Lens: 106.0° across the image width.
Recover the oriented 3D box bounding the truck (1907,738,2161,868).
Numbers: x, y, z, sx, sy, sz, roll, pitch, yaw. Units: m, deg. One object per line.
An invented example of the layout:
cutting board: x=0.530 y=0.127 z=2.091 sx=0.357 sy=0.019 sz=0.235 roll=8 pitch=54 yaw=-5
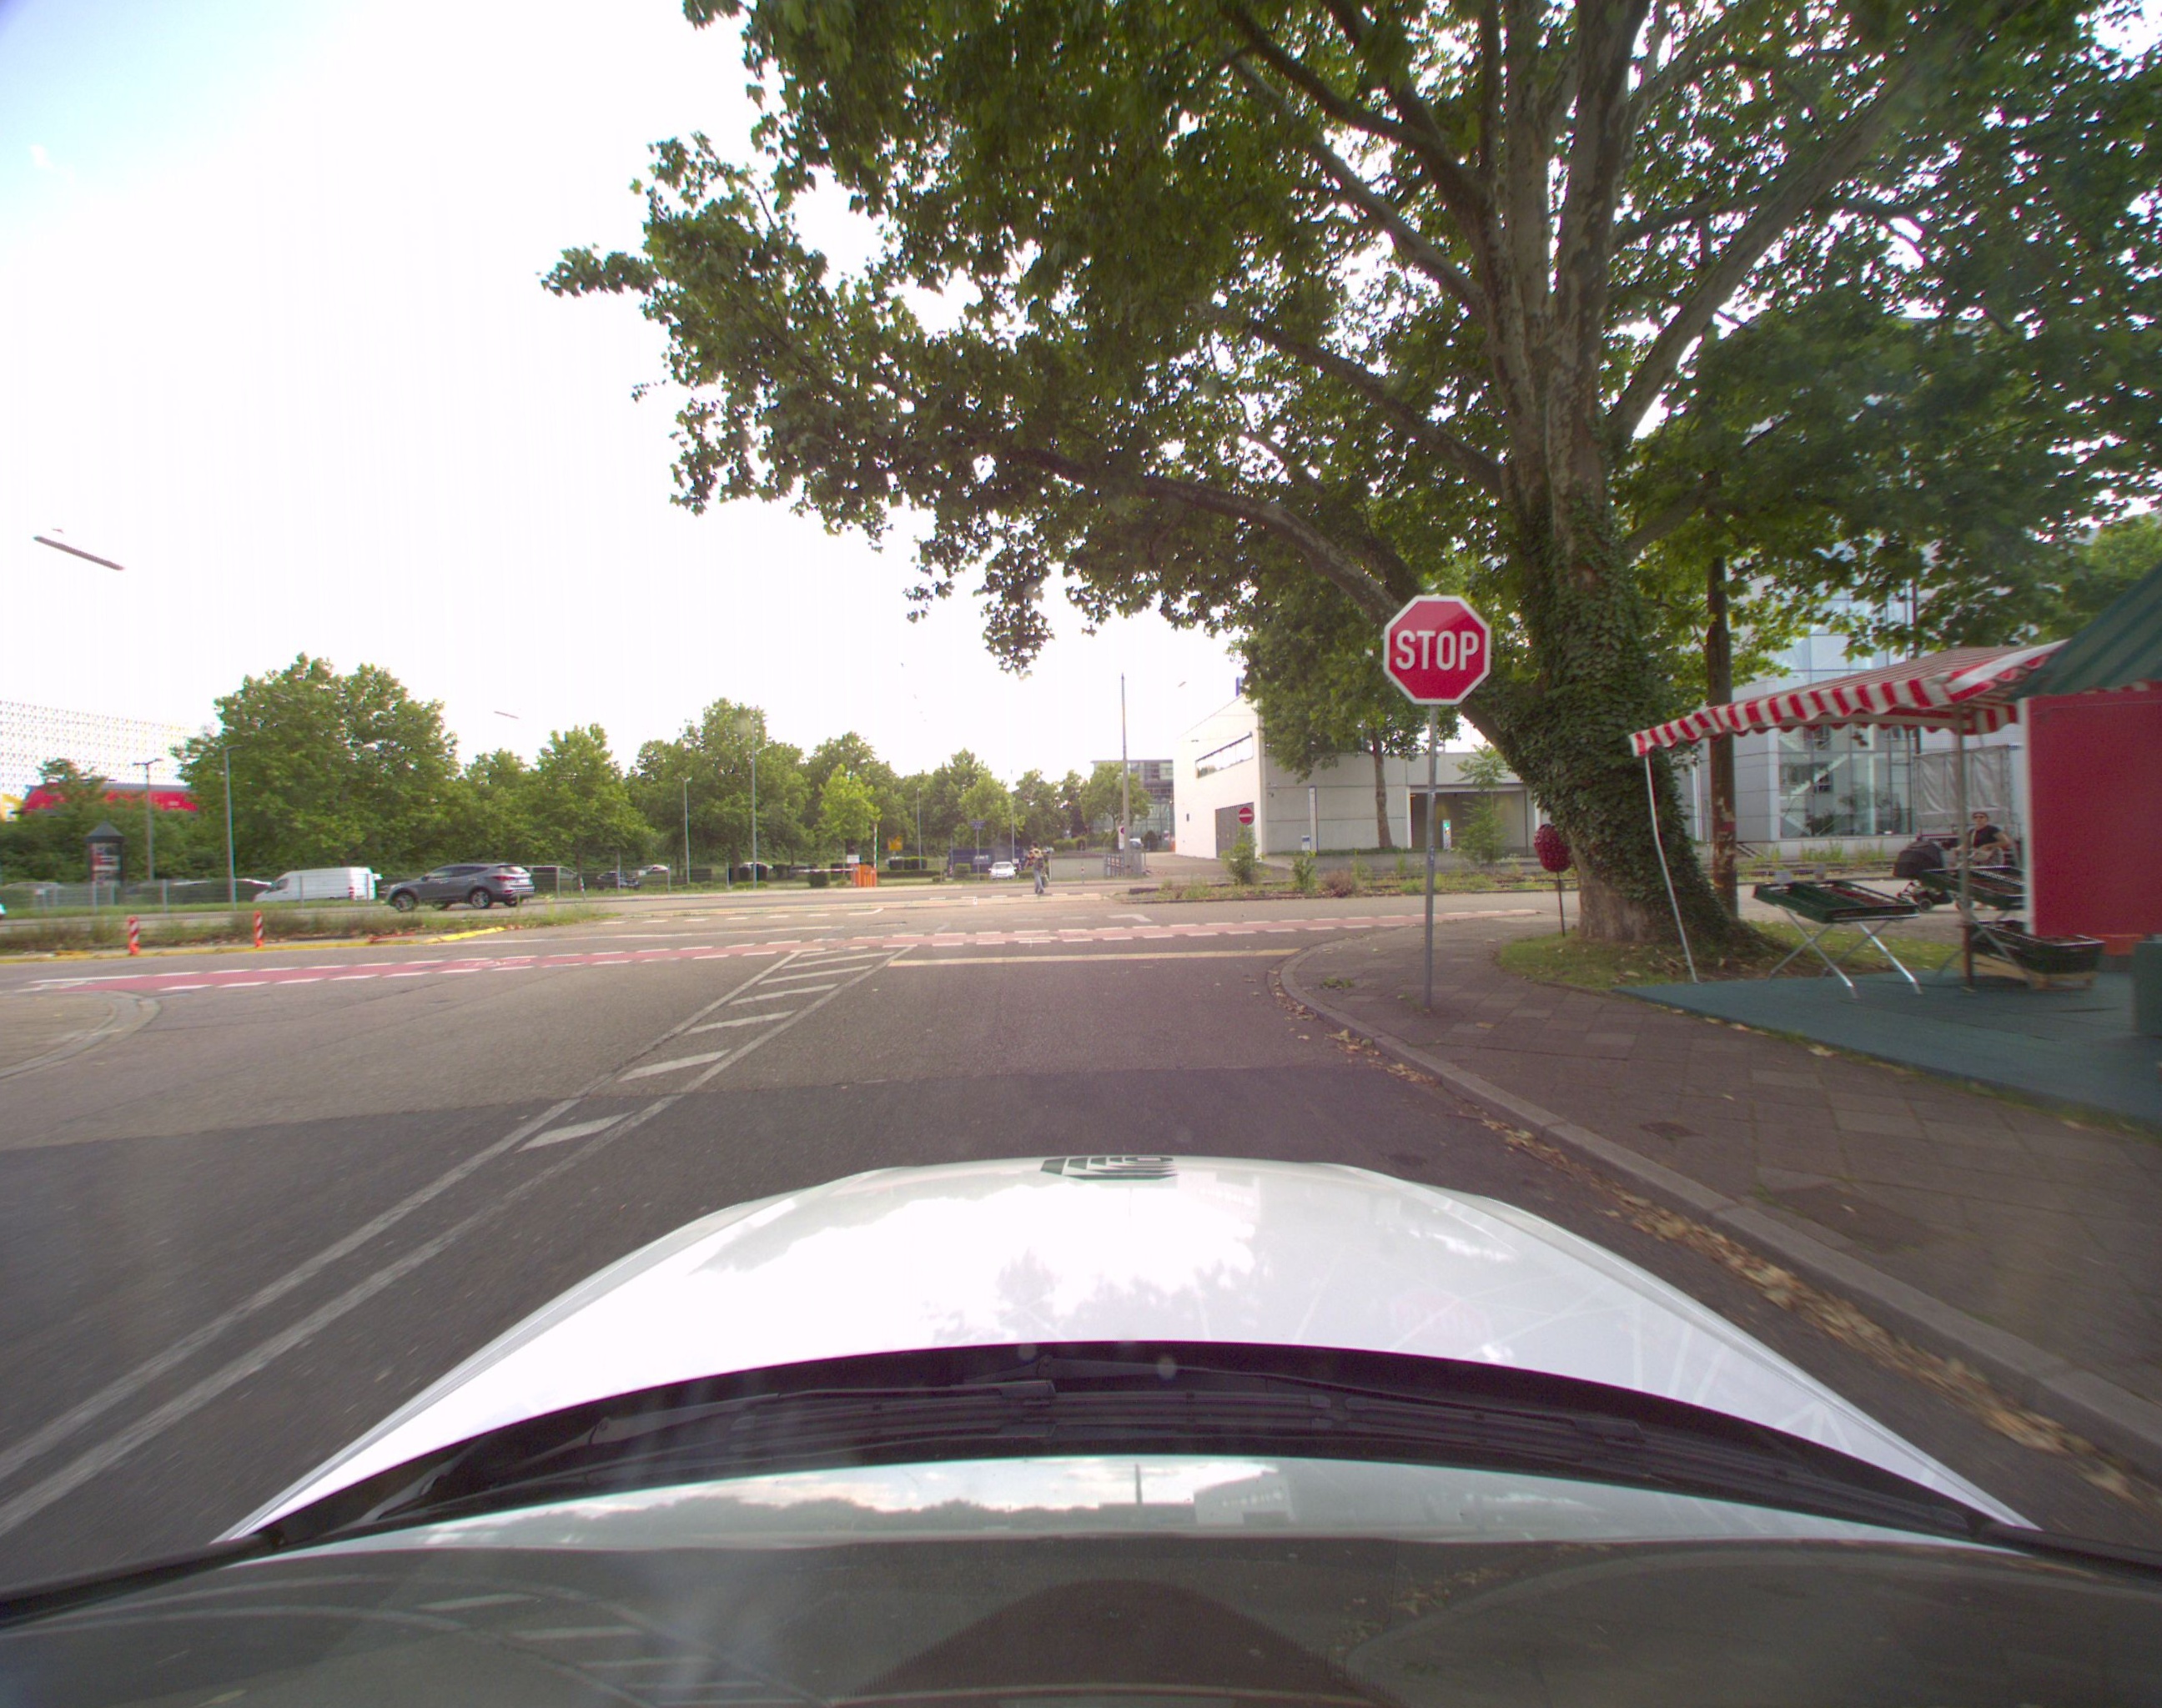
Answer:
truck: x=32.872 y=-1.663 z=26.832 sx=9.508 sy=3.896 sz=2.792 roll=-2 pitch=0 yaw=-8

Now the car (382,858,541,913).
car: x=-22.924 y=1.123 z=30.295 sx=4.252 sy=1.815 sz=1.966 roll=-2 pitch=1 yaw=-4

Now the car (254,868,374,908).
car: x=-47.729 y=2.117 z=50.756 sx=5.284 sy=2.211 sz=1.792 roll=-2 pitch=0 yaw=-9

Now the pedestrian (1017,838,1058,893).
pedestrian: x=-1.525 y=0.381 z=28.386 sx=1.005 sy=1.849 sz=1.220 roll=-1 pitch=0 yaw=-23

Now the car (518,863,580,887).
car: x=-50.546 y=1.959 z=77.491 sx=1.838 sy=2.135 sz=4.597 roll=-1 pitch=0 yaw=26

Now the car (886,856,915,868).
car: x=-27.490 y=1.260 z=123.926 sx=1.896 sy=1.721 sz=4.326 roll=-1 pitch=0 yaw=27

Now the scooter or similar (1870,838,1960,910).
scooter or similar: x=14.632 y=0.334 z=14.298 sx=1.024 sy=1.199 sz=0.644 roll=-1 pitch=0 yaw=-12

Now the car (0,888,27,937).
car: x=-38.366 y=2.051 z=26.843 sx=4.217 sy=1.579 sz=1.919 roll=-2 pitch=1 yaw=-8

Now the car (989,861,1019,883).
car: x=-5.424 y=1.268 z=57.817 sx=1.927 sy=1.403 sz=4.075 roll=-2 pitch=0 yaw=-4

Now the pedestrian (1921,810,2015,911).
pedestrian: x=15.620 y=0.101 z=14.352 sx=0.962 sy=1.713 sz=0.717 roll=-1 pitch=0 yaw=-13

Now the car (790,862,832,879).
car: x=-28.742 y=1.802 z=86.776 sx=3.950 sy=1.701 sz=1.921 roll=-1 pitch=0 yaw=26
